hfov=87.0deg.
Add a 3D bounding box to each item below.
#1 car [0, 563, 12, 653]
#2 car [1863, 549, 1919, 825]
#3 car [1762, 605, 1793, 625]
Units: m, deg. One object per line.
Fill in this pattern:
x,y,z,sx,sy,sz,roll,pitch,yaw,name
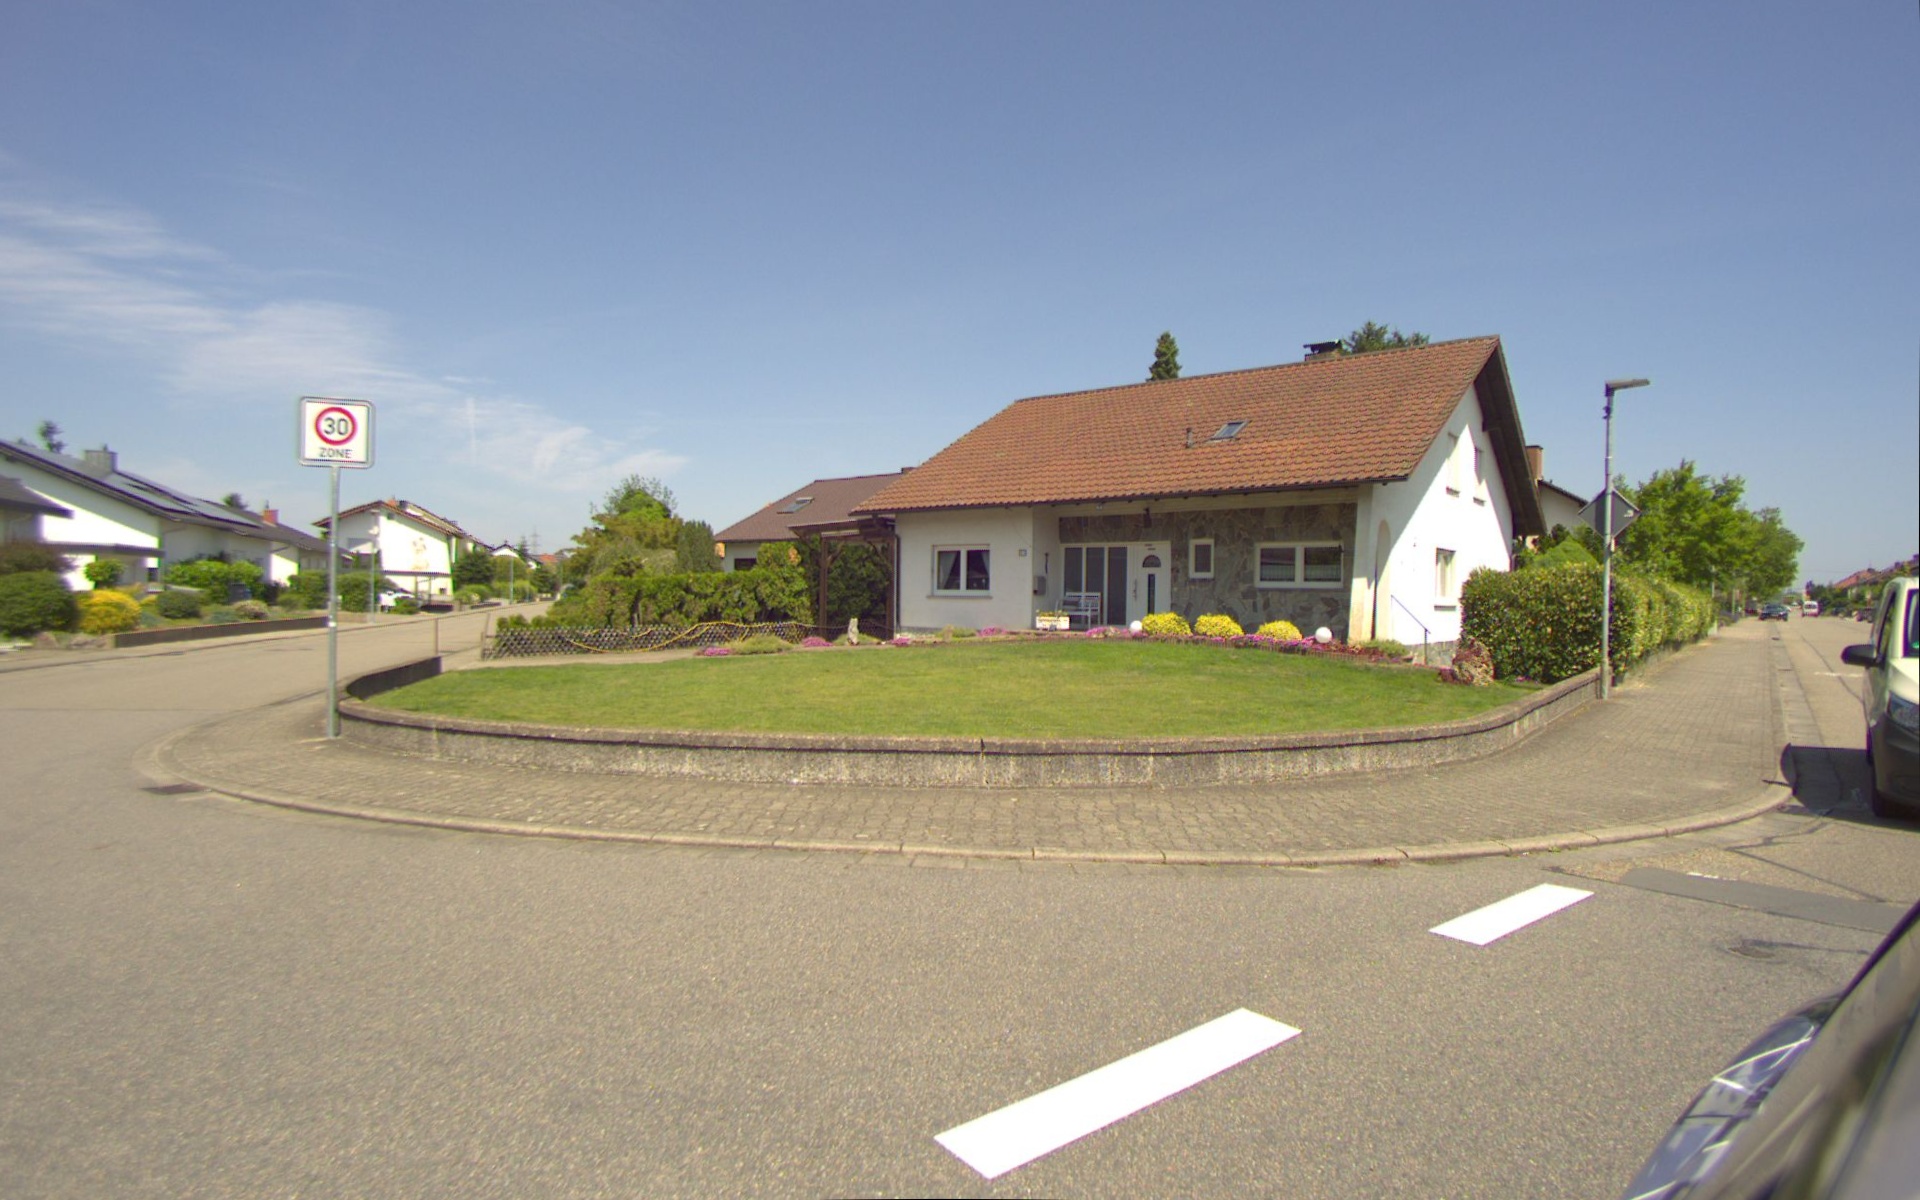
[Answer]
-22.802,0.168,20.490,4.863,1.939,1.932,0,0,-23,car
8.748,0.584,8.251,2.012,1.879,4.992,1,1,42,car
72.067,1.331,89.203,1.992,1.616,3.940,1,1,42,car
